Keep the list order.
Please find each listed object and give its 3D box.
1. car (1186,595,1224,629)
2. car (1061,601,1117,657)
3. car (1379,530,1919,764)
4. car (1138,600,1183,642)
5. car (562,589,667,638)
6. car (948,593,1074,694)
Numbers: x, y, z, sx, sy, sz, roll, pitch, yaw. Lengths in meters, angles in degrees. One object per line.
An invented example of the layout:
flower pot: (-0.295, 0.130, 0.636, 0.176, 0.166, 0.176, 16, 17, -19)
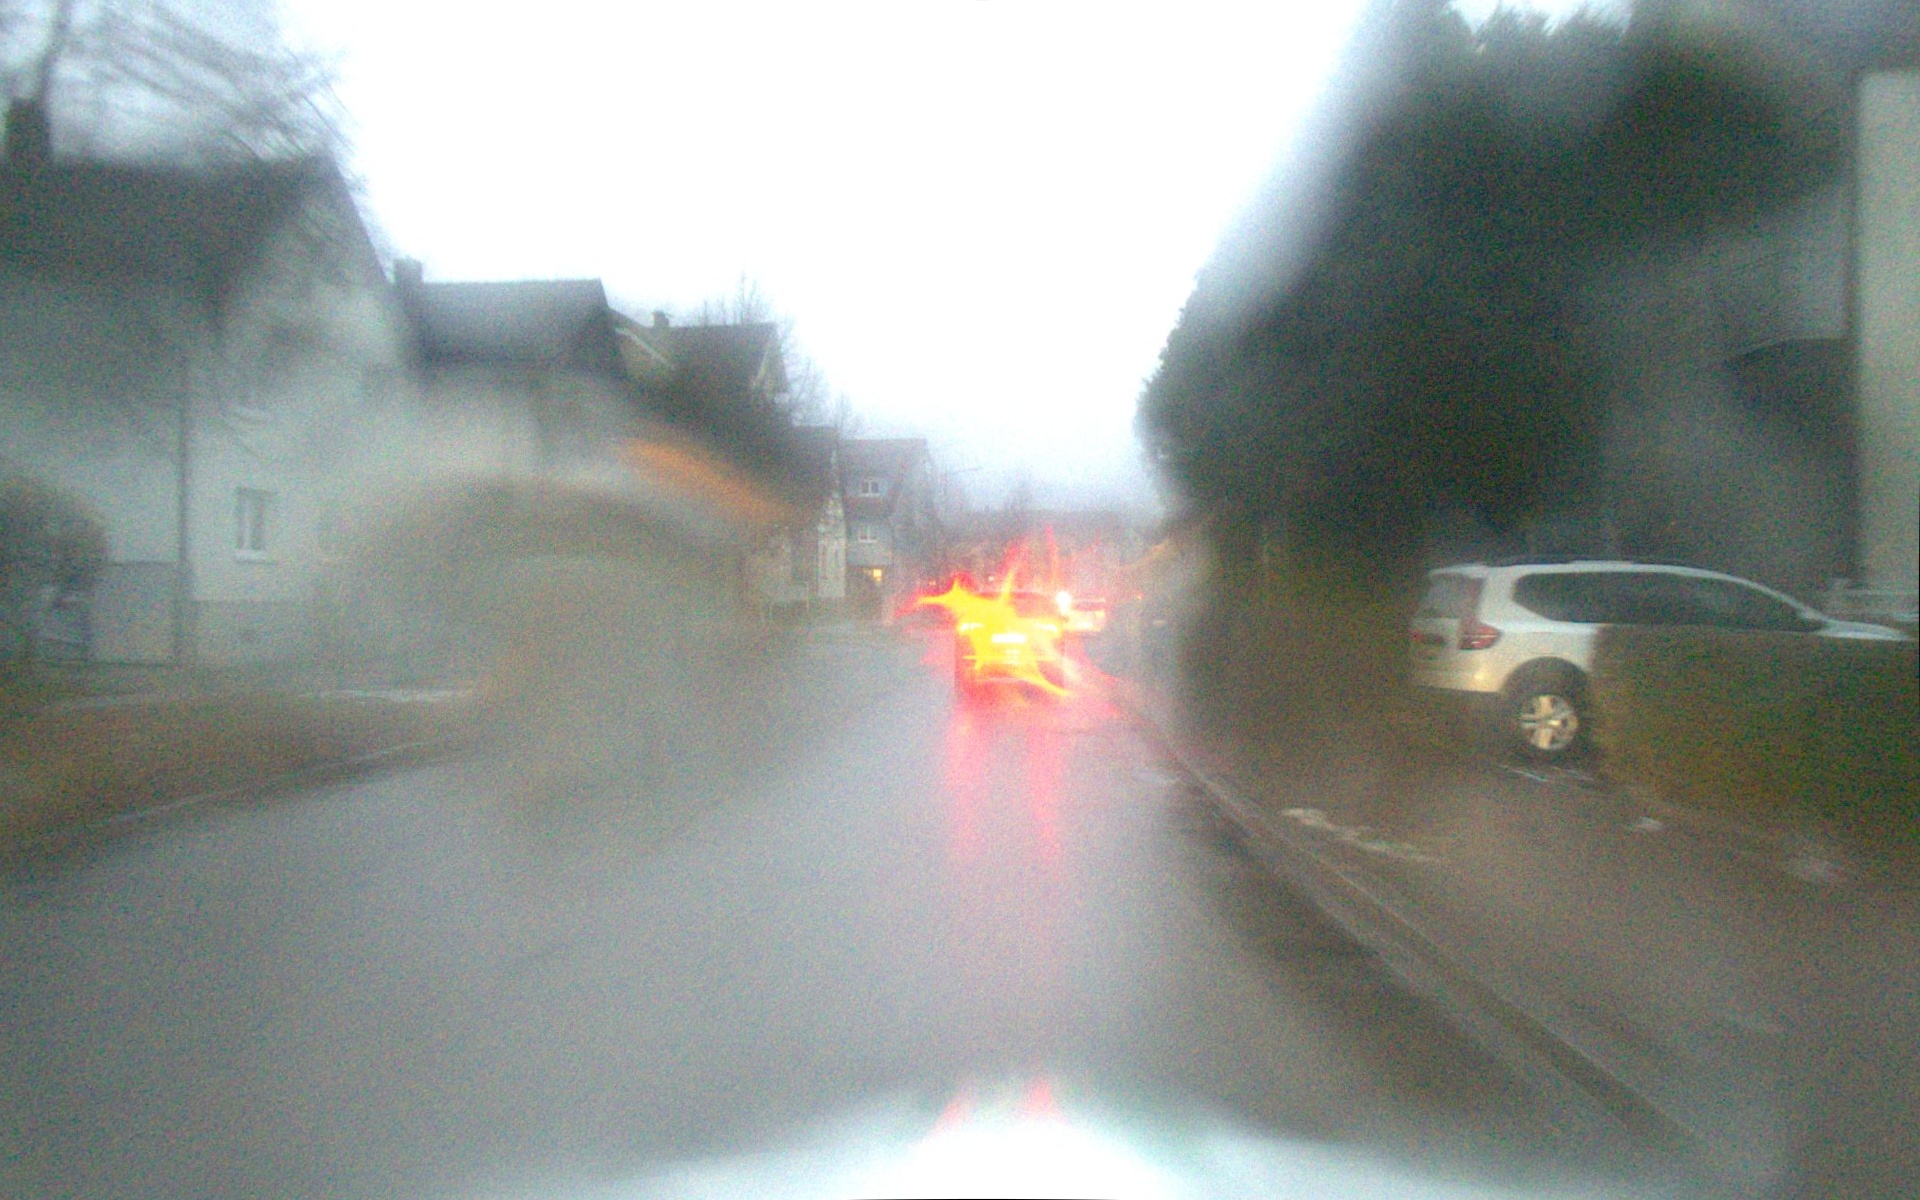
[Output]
car: (15.417, 0.721, 103.864, 1.935, 2.049, 5.750, -2, 0, 12)
car: (5.020, 1.123, 64.021, 1.951, 2.049, 4.003, 1, -1, 7)
car: (6.125, 0.372, 14.655, 4.236, 1.762, 1.999, -2, 0, -3)
car: (7.838, 0.821, 64.442, 1.614, 1.567, 3.393, -1, -1, 9)
car: (-10.332, 0.420, 49.767, 1.744, 1.390, 4.003, 1, -1, 10)
car: (0.849, 0.680, 27.784, 1.952, 1.552, 4.001, 1, 0, 1)
